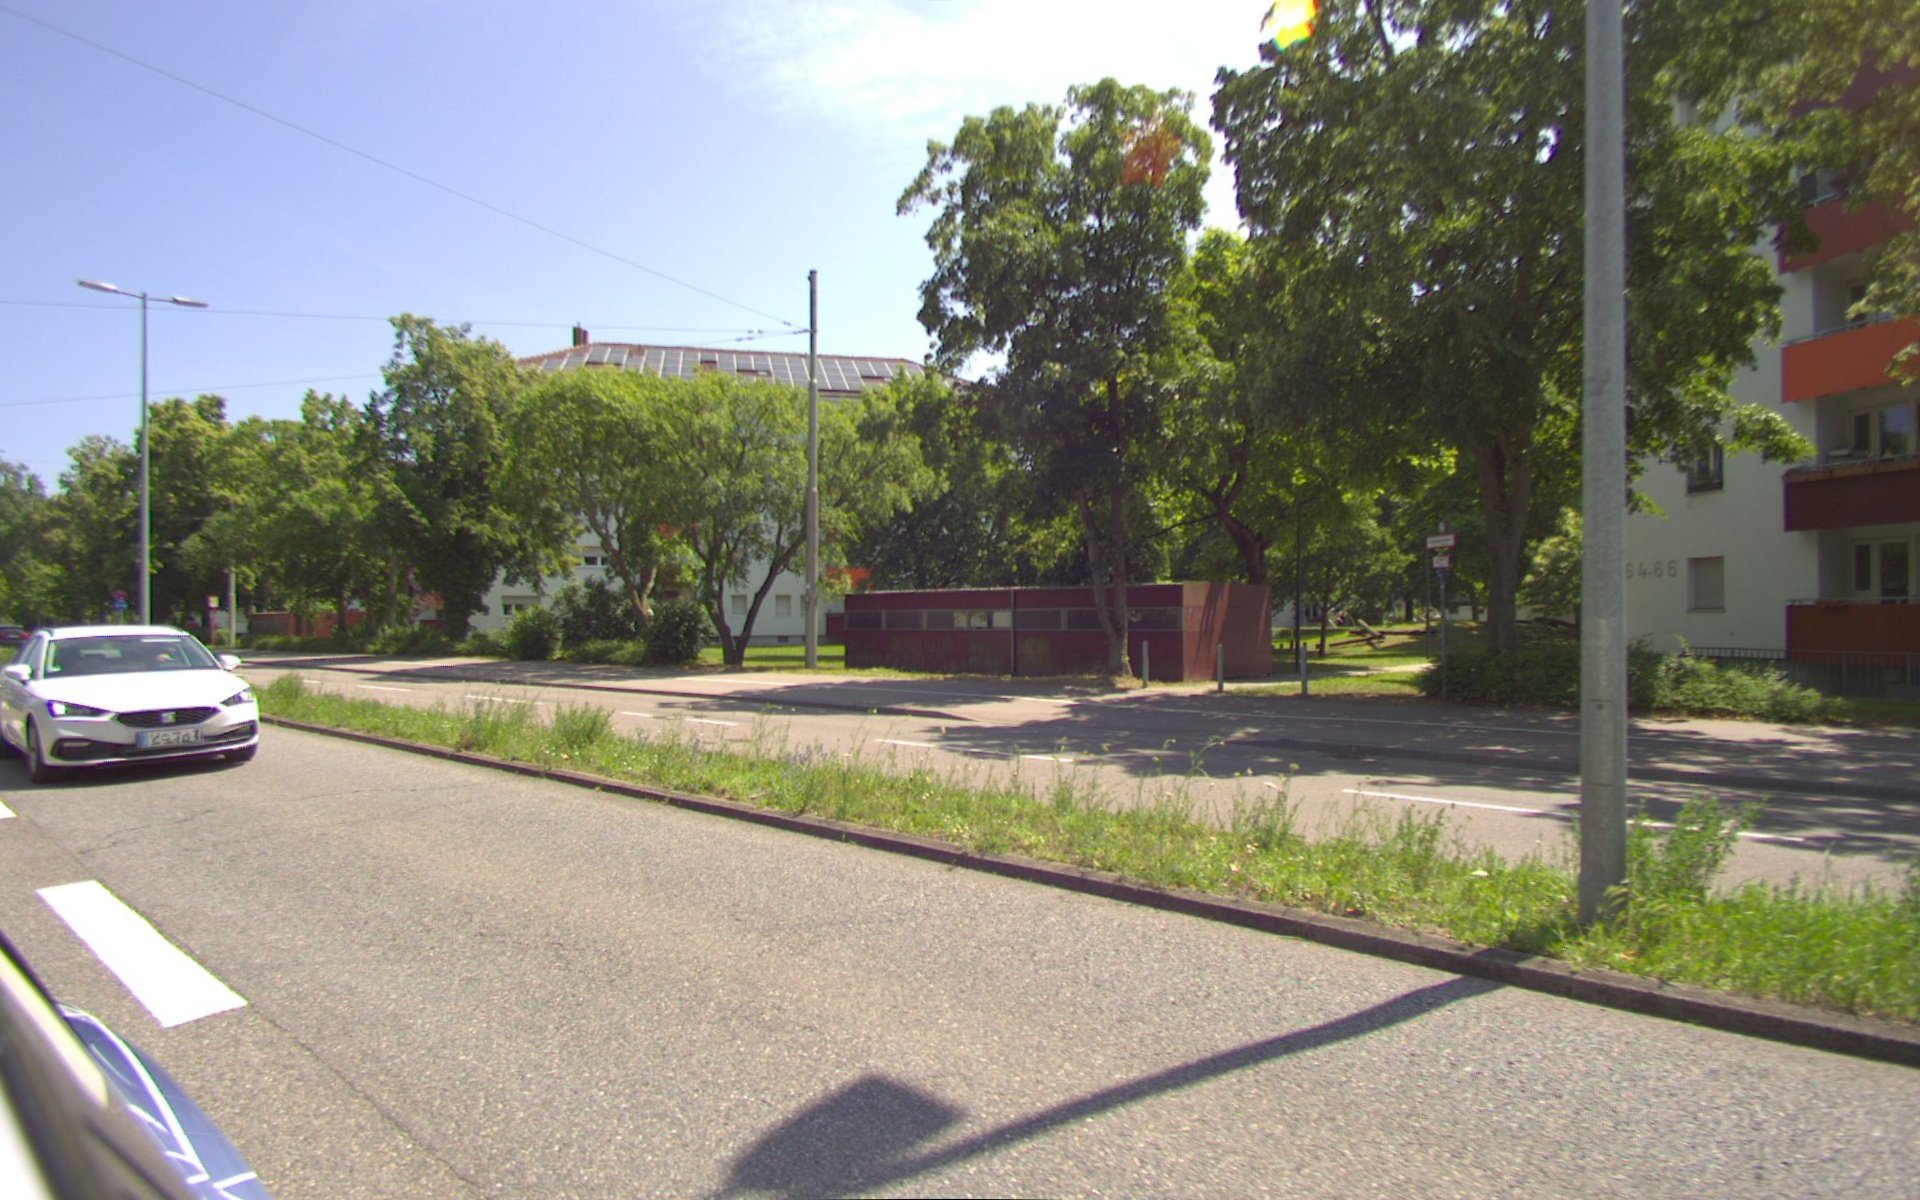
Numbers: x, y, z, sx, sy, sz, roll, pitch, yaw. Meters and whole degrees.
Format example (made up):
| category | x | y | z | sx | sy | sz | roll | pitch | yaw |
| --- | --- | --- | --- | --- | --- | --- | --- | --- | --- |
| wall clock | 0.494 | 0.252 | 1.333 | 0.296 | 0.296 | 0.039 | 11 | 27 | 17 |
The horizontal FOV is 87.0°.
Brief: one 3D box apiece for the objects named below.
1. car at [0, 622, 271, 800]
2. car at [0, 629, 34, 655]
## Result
| category | x | y | z | sx | sy | sz | roll | pitch | yaw |
| --- | --- | --- | --- | --- | --- | --- | --- | --- | --- |
| car | -8.969 | 1.014 | 10.741 | 4.109 | 1.479 | 1.749 | -2 | 0 | 41 |
| car | -61.007 | 2.665 | 64.692 | 4.751 | 1.638 | 1.904 | -1 | -3 | 39 |
